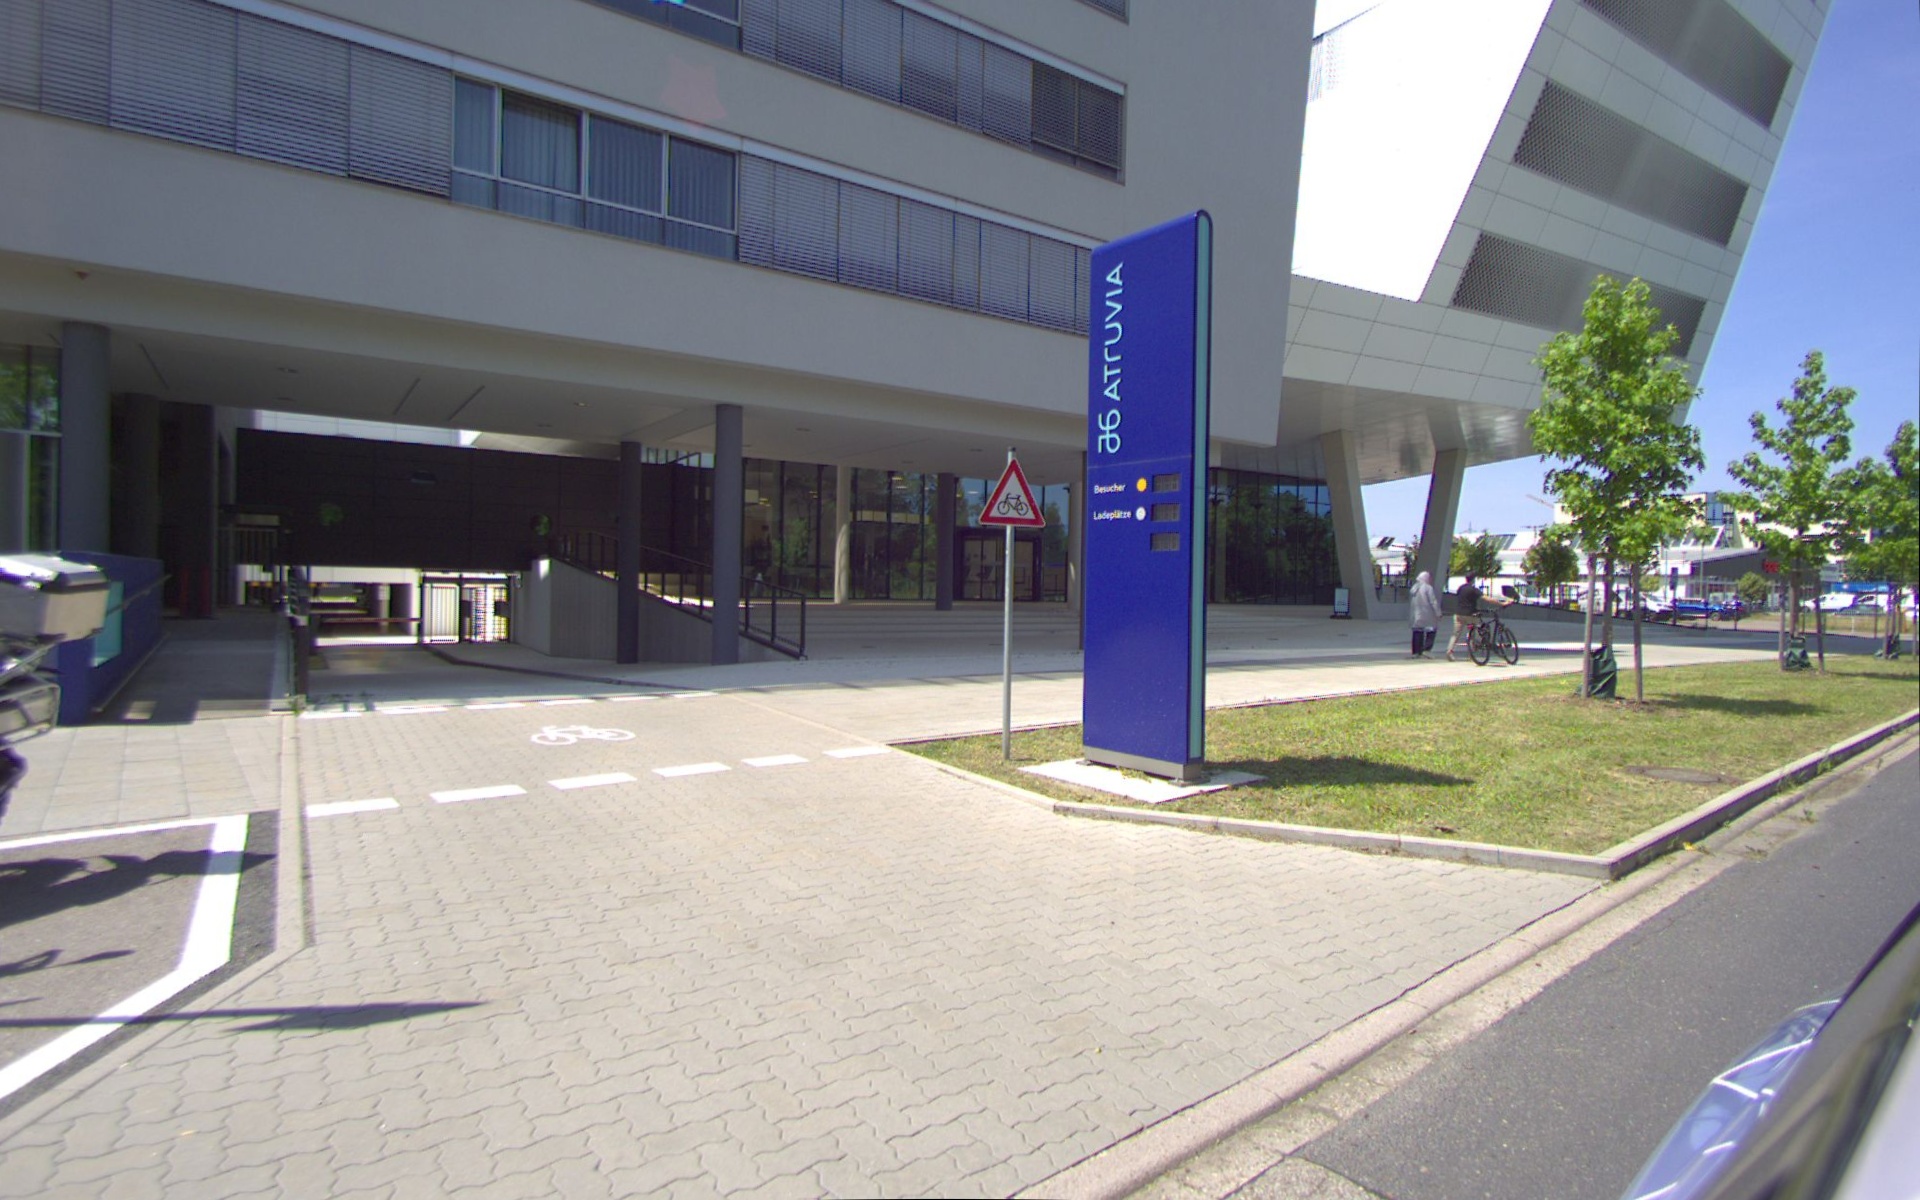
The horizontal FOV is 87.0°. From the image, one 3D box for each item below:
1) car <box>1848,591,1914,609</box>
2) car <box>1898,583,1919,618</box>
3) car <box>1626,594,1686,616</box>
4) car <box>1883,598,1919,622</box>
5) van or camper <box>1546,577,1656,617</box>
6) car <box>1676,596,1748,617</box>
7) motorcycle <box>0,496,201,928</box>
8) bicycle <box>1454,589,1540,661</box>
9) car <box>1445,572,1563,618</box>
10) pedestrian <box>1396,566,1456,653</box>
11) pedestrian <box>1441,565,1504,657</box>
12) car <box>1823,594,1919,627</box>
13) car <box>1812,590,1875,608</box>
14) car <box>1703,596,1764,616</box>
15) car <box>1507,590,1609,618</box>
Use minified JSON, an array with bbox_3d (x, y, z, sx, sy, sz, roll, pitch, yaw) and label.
[{"bbox_3d":[87.659,-0.053,96.387,1.670,1.678,4.328,0,0,-33],"label":"car"},{"bbox_3d":[63.162,0.037,63.118,2.123,2.177,6.503,0,0,-33],"label":"car"},{"bbox_3d":[43.906,0.307,63.867,1.177,1.320,2.900,0,0,-33],"label":"car"},{"bbox_3d":[57.027,0.582,59.387,1.621,1.411,3.999,0,0,-36],"label":"car"},{"bbox_3d":[40.639,-0.204,64.329,1.670,2.420,5.709,0,0,-33],"label":"van or camper"},{"bbox_3d":[52.675,0.432,70.923,1.430,1.388,3.822,0,0,-33],"label":"car"},{"bbox_3d":[-3.949,0.372,3.491,1.200,1.516,2.451,2,2,-13],"label":"motorcycle"},{"bbox_3d":[10.029,0.443,18.867,2.265,1.270,0.644,0,0,-41],"label":"bicycle"},{"bbox_3d":[30.488,-0.274,56.888,1.961,2.491,5.590,0,0,-33],"label":"car"},{"bbox_3d":[9.235,0.182,20.043,0.762,1.681,0.844,0,0,-41],"label":"pedestrian"},{"bbox_3d":[9.805,0.204,19.377,0.762,1.722,0.844,0,0,-41],"label":"pedestrian"},{"bbox_3d":[48.931,0.517,54.241,1.709,1.695,3.824,0,0,-36],"label":"car"},{"bbox_3d":[78.405,-0.071,89.877,1.670,1.561,3.923,0,0,-33],"label":"car"},{"bbox_3d":[55.143,0.425,72.177,1.380,1.367,3.232,0,0,-33],"label":"car"},{"bbox_3d":[36.683,0.210,62.237,1.670,1.661,5.234,0,0,-33],"label":"car"}]
